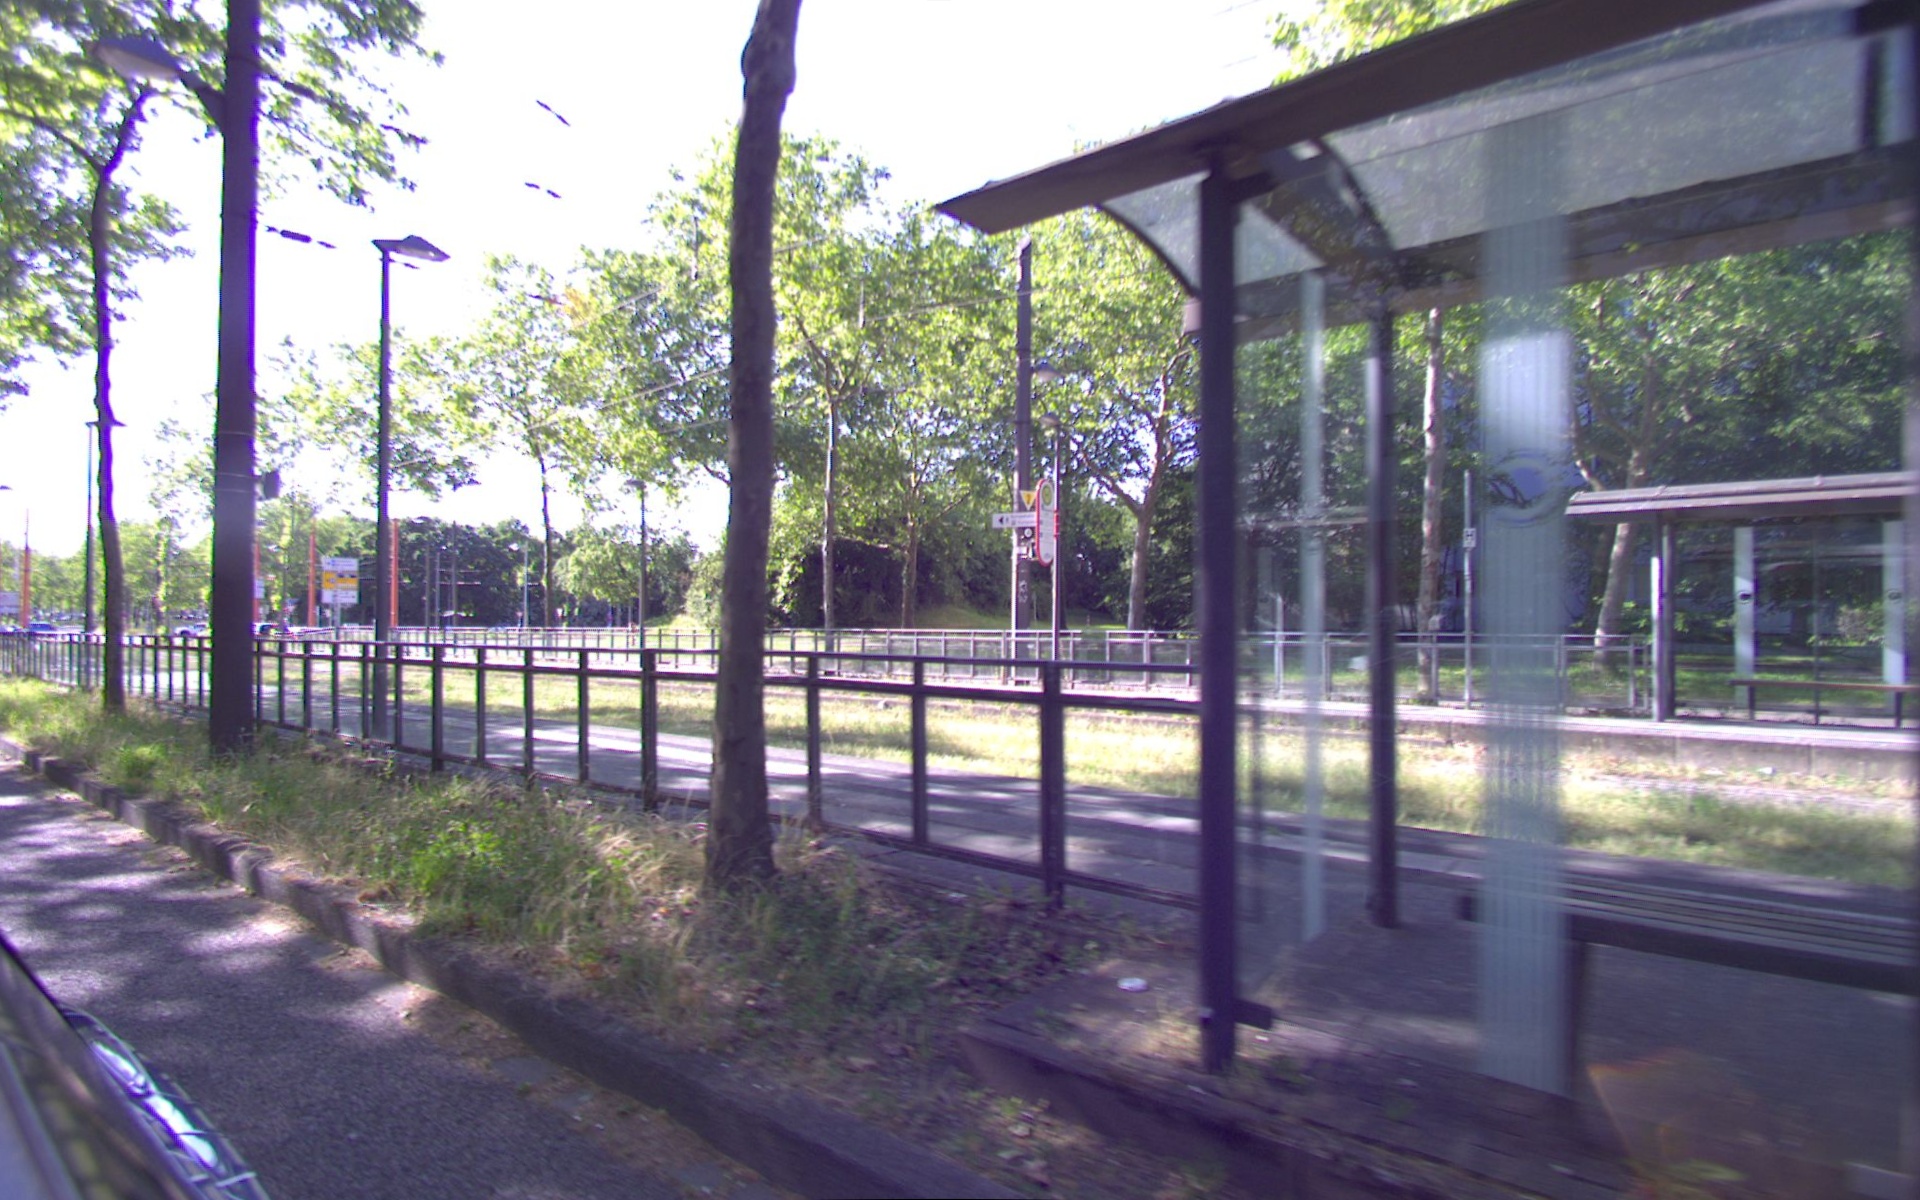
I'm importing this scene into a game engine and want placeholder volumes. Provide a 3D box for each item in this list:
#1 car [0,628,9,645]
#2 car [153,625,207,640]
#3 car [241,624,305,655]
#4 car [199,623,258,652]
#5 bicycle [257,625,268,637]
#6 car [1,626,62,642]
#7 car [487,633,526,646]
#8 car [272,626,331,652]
[{"bbox_3d":[-91.316,3.404,94.026,3.930,1.522,1.806,1,-2,-24],"label":"car"},{"bbox_3d":[-78.027,3.240,101.287,3.930,1.522,1.806,1,-2,-24],"label":"car"},{"bbox_3d":[-37.359,2.105,54.998,4.264,1.620,1.776,-1,-2,40],"label":"car"},{"bbox_3d":[-42.045,2.141,58.165,4.230,1.629,1.776,-1,-2,40],"label":"car"},{"bbox_3d":[-67.638,2.980,98.175,1.800,1.116,0.493,-1,-2,42],"label":"bicycle"},{"bbox_3d":[-90.516,3.351,98.691,3.930,1.522,1.806,1,-2,-24],"label":"car"},{"bbox_3d":[-51.086,4.457,114.030,3.930,1.522,1.806,1,-2,-24],"label":"car"},{"bbox_3d":[-38.846,2.277,59.653,4.264,1.522,1.776,-1,-2,40],"label":"car"}]
